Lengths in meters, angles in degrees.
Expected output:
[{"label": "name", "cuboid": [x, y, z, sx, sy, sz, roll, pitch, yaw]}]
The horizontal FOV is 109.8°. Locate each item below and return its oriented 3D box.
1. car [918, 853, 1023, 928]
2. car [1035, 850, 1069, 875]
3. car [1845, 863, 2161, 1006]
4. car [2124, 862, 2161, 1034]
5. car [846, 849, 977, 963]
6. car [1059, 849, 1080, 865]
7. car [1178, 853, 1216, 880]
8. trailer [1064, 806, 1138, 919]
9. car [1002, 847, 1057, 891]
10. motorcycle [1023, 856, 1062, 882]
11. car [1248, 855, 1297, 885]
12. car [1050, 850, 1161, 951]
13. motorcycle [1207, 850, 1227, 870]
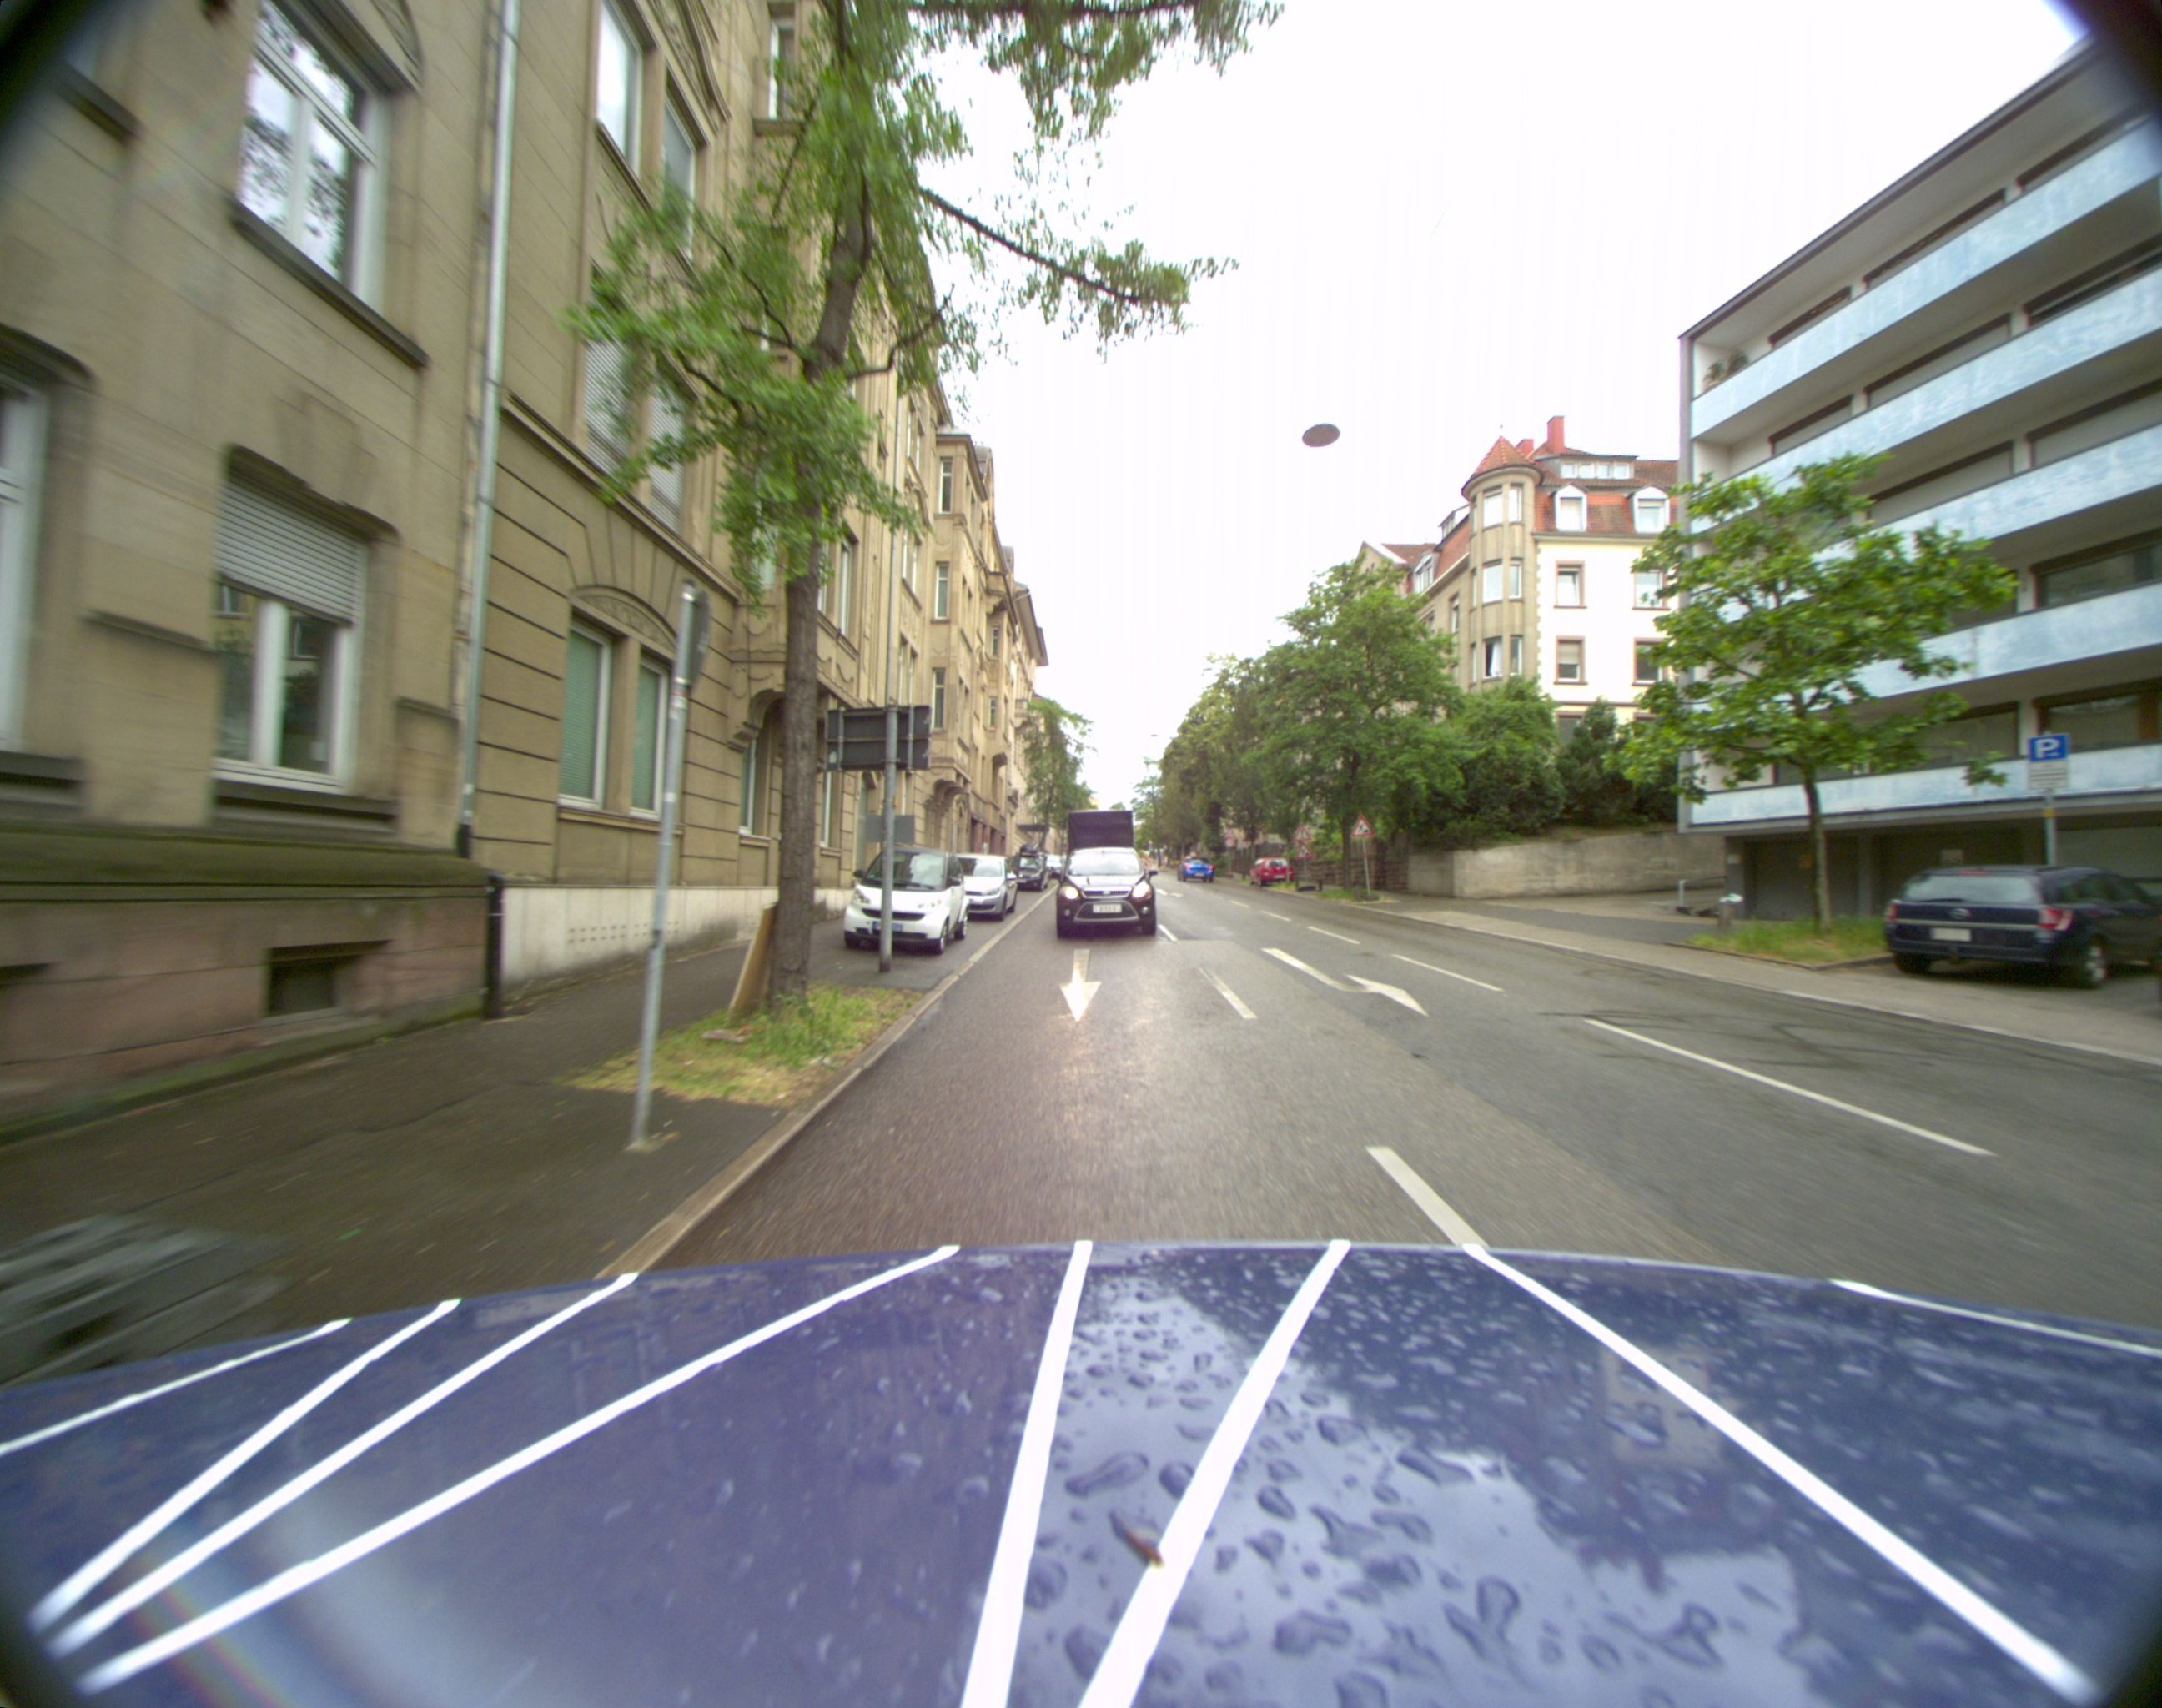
[{"label": "car", "cuboid": [-2.523, 0.777, 18.270, 1.764, 1.443, 4.000, 4, 1, 1]}, {"label": "car", "cuboid": [-1.785, 0.512, 48.207, 1.794, 1.444, 4.039, 3, 0, 2]}, {"label": "car", "cuboid": [13.004, 0.945, 10.412, 4.375, 1.565, 1.939, 0, 1, -21]}, {"label": "car", "cuboid": [12.790, 0.912, 7.485, 4.384, 1.663, 1.851, 0, 1, -21]}, {"label": "car", "cuboid": [-2.624, 0.737, 12.321, 1.302, 1.534, 2.976, 4, 1, 1]}, {"label": "car", "cuboid": [-1.209, 0.315, 79.305, 1.910, 1.503, 4.318, 3, 0, 2]}, {"label": "car", "cuboid": [6.723, 0.696, 44.288, 1.719, 1.442, 3.742, -1, 1, 2]}, {"label": "trailer", "cuboid": [0.509, 0.182, 21.068, 1.783, 2.744, 4.816, -1, 1, 1]}, {"label": "car", "cuboid": [-2.117, 0.581, 32.308, 1.764, 1.642, 4.098, 4, 1, 2]}, {"label": "motorcycle", "cuboid": [-1.989, 0.784, 39.769, 0.523, 1.236, 2.282, 3, 0, 42]}, {"label": "car", "cuboid": [9.693, 0.775, 38.713, 1.617, 1.442, 4.064, -1, 1, 2]}, {"label": "car", "cuboid": [0.496, 0.764, 14.881, 1.823, 1.662, 4.522, -1, 0, 2]}, {"label": "motorcycle", "cuboid": [9.782, 0.409, 54.908, 0.802, 1.406, 3.061, -2, 0, -1]}]
